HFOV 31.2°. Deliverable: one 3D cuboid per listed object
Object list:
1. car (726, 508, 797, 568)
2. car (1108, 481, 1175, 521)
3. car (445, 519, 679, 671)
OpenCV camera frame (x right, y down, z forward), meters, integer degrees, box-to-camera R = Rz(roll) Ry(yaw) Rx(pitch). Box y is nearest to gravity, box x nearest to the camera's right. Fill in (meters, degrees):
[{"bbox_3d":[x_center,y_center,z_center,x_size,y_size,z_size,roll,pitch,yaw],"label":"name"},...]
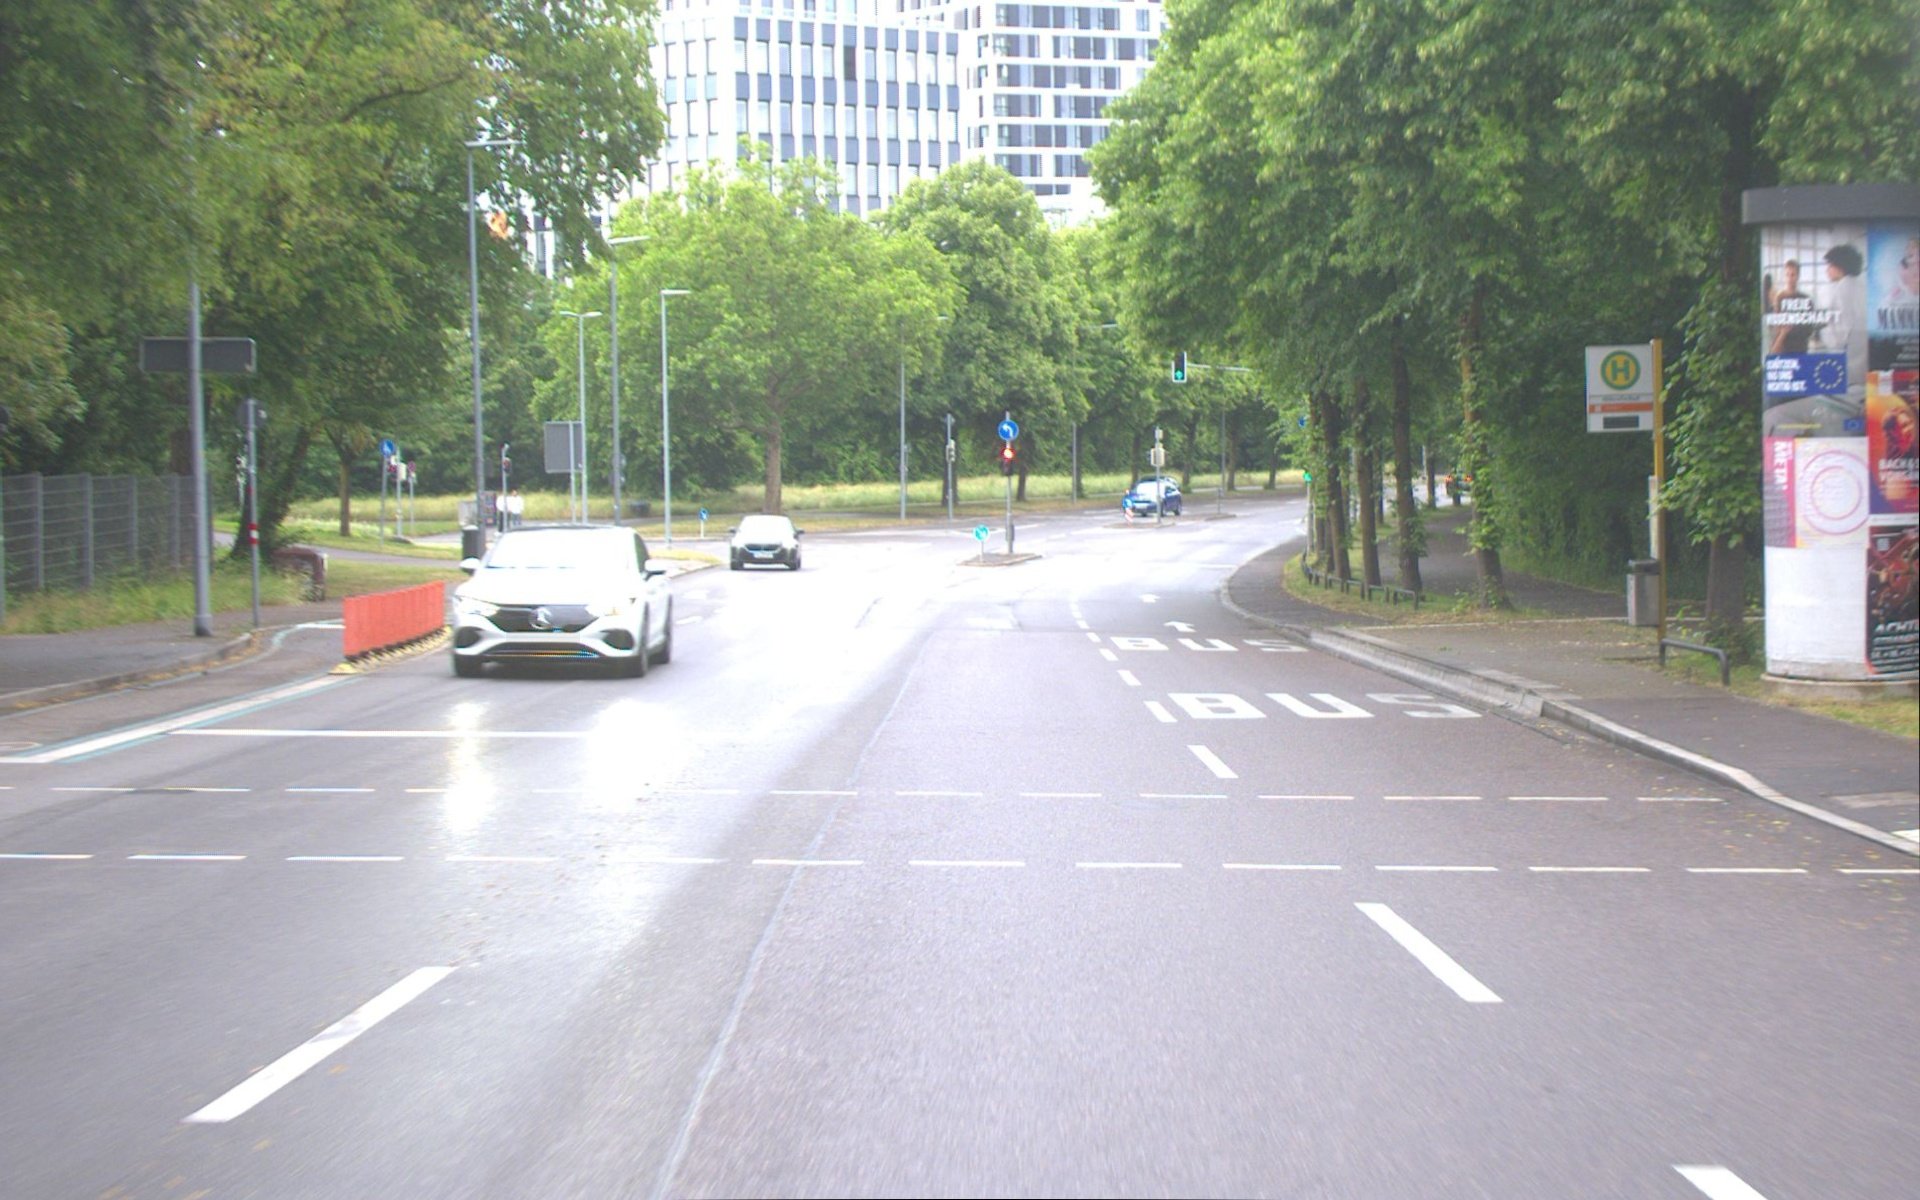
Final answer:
[{"bbox_3d":[-5.317,-1.689,92.390,1.602,1.437,4.001,2,3,0],"label":"car"},{"bbox_3d":[7.869,-4.258,148.670,1.995,1.679,3.997,0,1,16],"label":"car"},{"bbox_3d":[-4.035,-0.104,35.505,1.843,1.452,4.500,0,1,1],"label":"car"}]
